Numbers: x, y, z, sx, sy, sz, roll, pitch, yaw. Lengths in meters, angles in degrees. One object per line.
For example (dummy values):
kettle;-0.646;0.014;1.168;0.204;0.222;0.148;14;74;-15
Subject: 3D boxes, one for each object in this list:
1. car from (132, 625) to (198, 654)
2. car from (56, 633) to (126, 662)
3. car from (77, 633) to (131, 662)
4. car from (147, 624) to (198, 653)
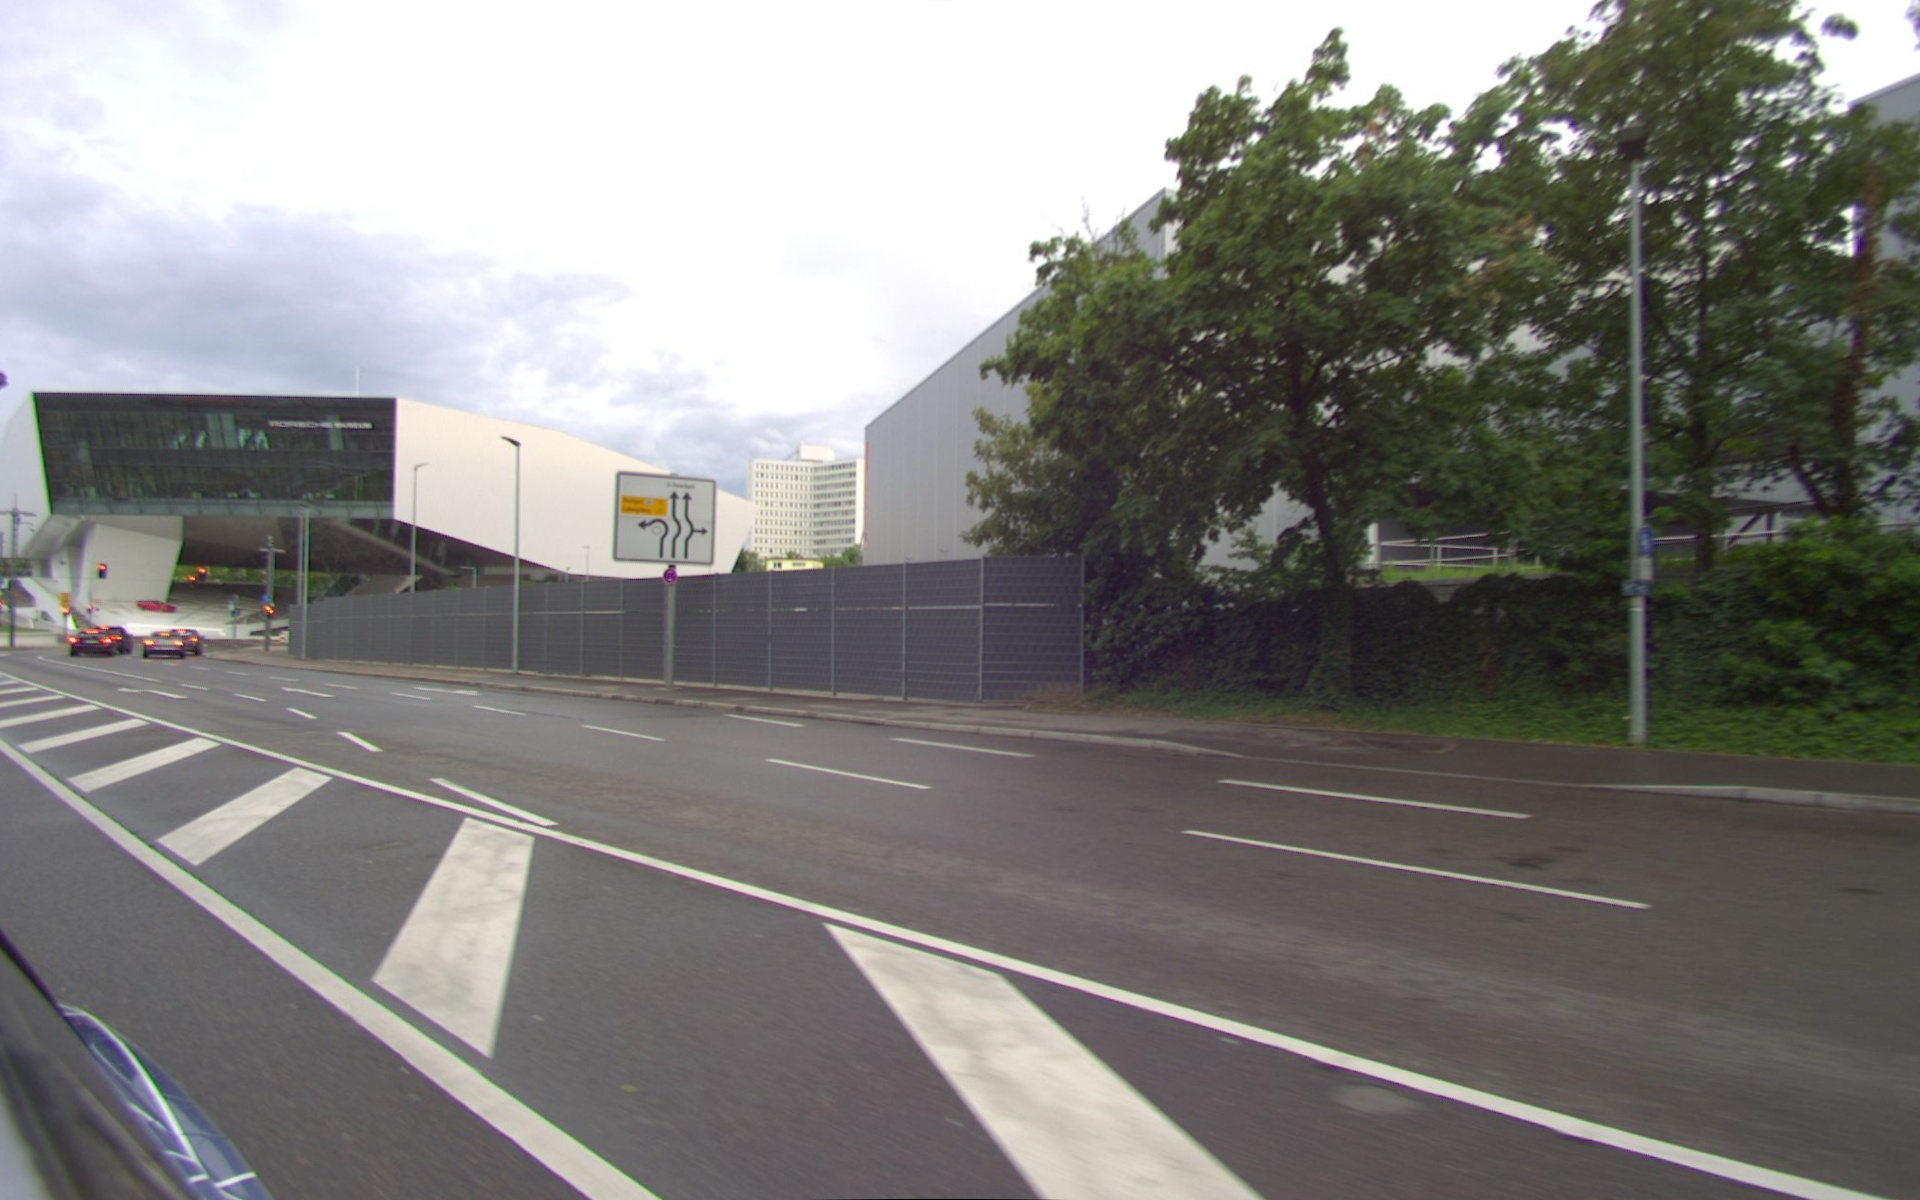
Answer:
car;-42.702;2.131;54.466;2.233;1.488;4.059;2;-3;-31
car;-46.693;2.515;54.471;2.221;1.488;3.890;2;-3;-31
car;-49.666;2.750;58.788;1.850;1.663;3.863;2;-3;-32
car;-47.544;2.344;61.157;1.834;1.663;3.799;2;-3;-29
